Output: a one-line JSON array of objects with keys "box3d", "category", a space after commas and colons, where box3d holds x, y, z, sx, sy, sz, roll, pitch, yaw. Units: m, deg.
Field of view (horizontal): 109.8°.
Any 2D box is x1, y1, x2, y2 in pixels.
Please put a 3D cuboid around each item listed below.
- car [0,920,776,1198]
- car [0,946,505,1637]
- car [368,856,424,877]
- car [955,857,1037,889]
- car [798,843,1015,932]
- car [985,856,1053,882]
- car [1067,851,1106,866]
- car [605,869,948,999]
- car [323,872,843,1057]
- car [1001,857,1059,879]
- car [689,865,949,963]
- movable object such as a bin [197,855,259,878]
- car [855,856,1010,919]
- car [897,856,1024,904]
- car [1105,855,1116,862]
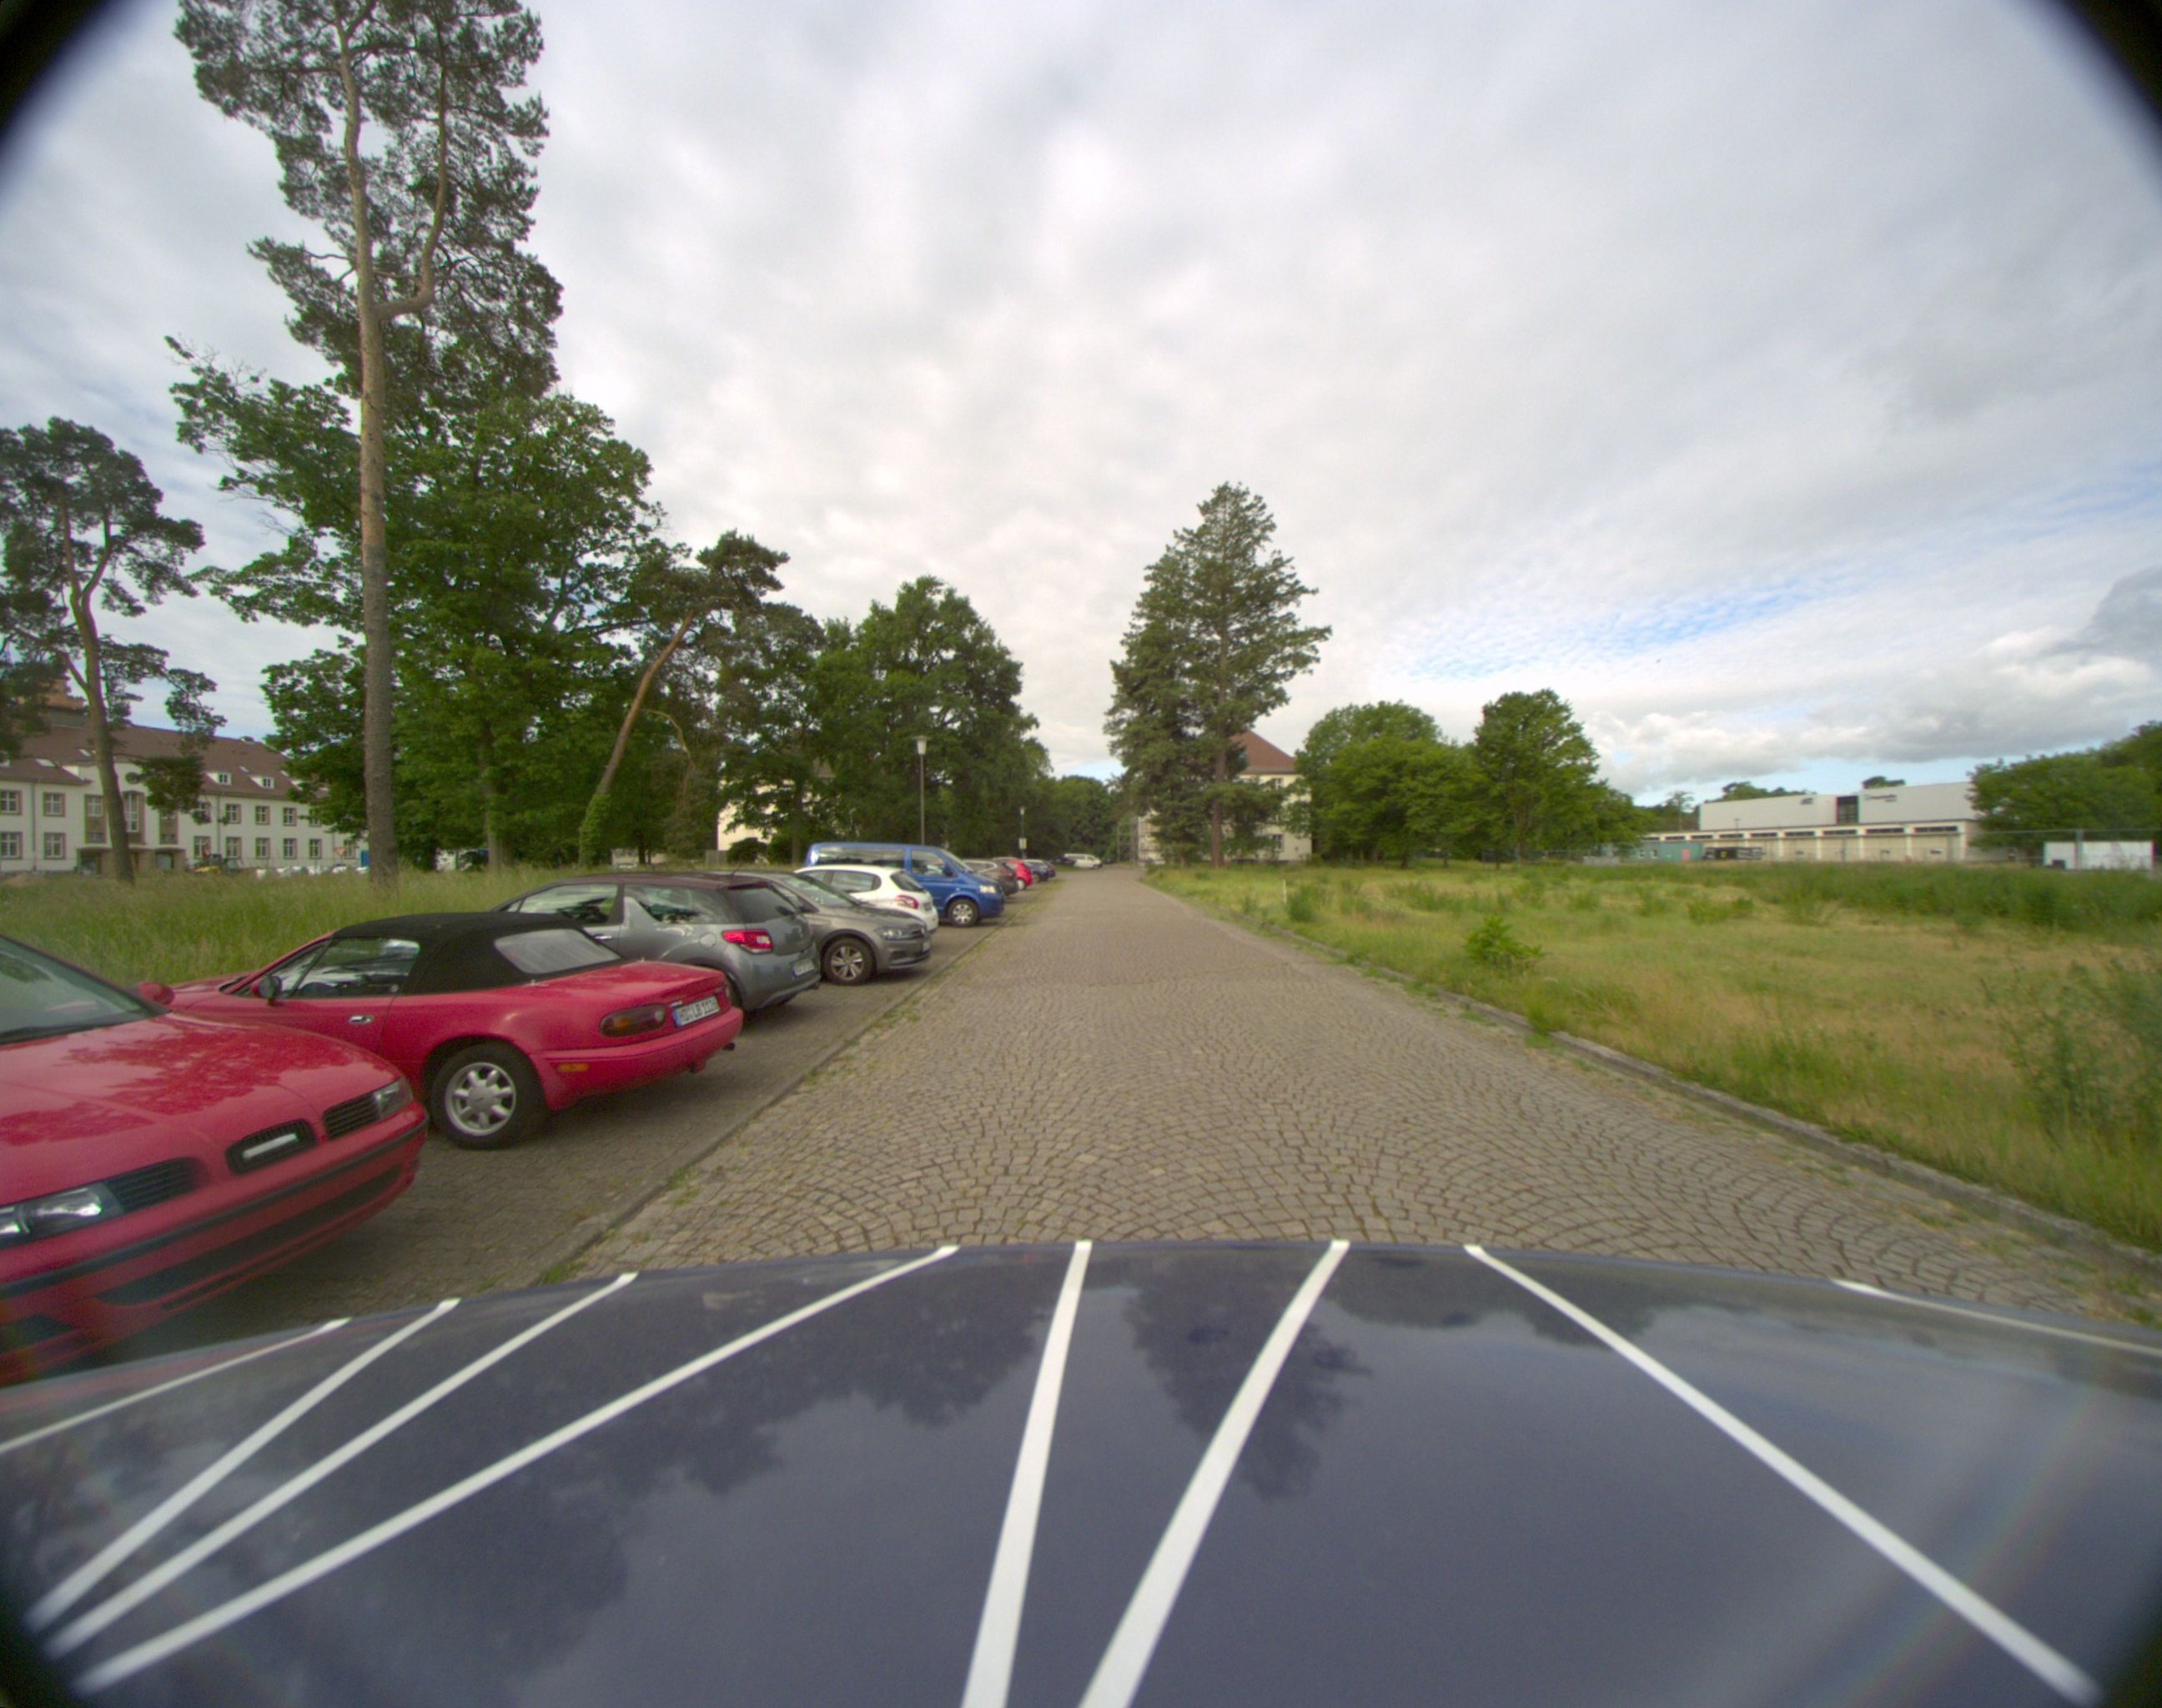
[{"box3d": [-4.253, 1.155, 4.855, 3.872, 1.229, 1.758, 1, 0, -1], "category": "car"}, {"box3d": [-4.690, 1.110, 2.414, 4.272, 1.408, 1.871, 1, 0, 0], "category": "car"}, {"box3d": [-67.368, 1.179, 74.823, 1.999, 2.002, 3.998, 0, 0, -4], "category": "car"}, {"box3d": [-4.168, 0.931, 37.718, 3.894, 1.451, 1.582, 1, 0, -1], "category": "car"}, {"box3d": [-4.129, 0.785, 18.602, 4.820, 1.934, 2.003, 1, 0, -1], "category": "car"}, {"box3d": [-3.902, 0.912, 47.958, 4.150, 1.529, 1.582, 1, 0, -1], "category": "car"}, {"box3d": [0.724, 0.580, 101.383, 5.141, 1.860, 1.723, 1, 0, -1], "category": "car"}, {"box3d": [-3.900, 0.995, 10.210, 3.872, 1.463, 1.758, 1, 0, 0], "category": "car"}, {"box3d": [-4.555, 0.976, 7.417, 3.872, 1.463, 1.758, 1, 0, -1], "category": "car"}, {"box3d": [-3.501, 0.978, 52.615, 3.878, 1.417, 1.582, 1, 0, -1], "category": "car"}, {"box3d": [-4.429, 0.988, 13.256, 3.871, 1.463, 1.758, 1, 0, 2], "category": "car"}, {"box3d": [-75.603, 1.072, 67.399, 1.679, 2.002, 3.245, 0, 0, 8], "category": "movable object such as a bin"}, {"box3d": [-4.045, 0.894, 21.165, 3.872, 1.463, 1.841, 3, 0, -1], "category": "car"}, {"box3d": [-4.287, 0.915, 27.441, 4.271, 1.589, 1.822, 1, 0, -1], "category": "car"}, {"box3d": [6.595, 0.976, 168.298, 1.870, 1.408, 4.694, 1, 0, -4], "category": "car"}]
